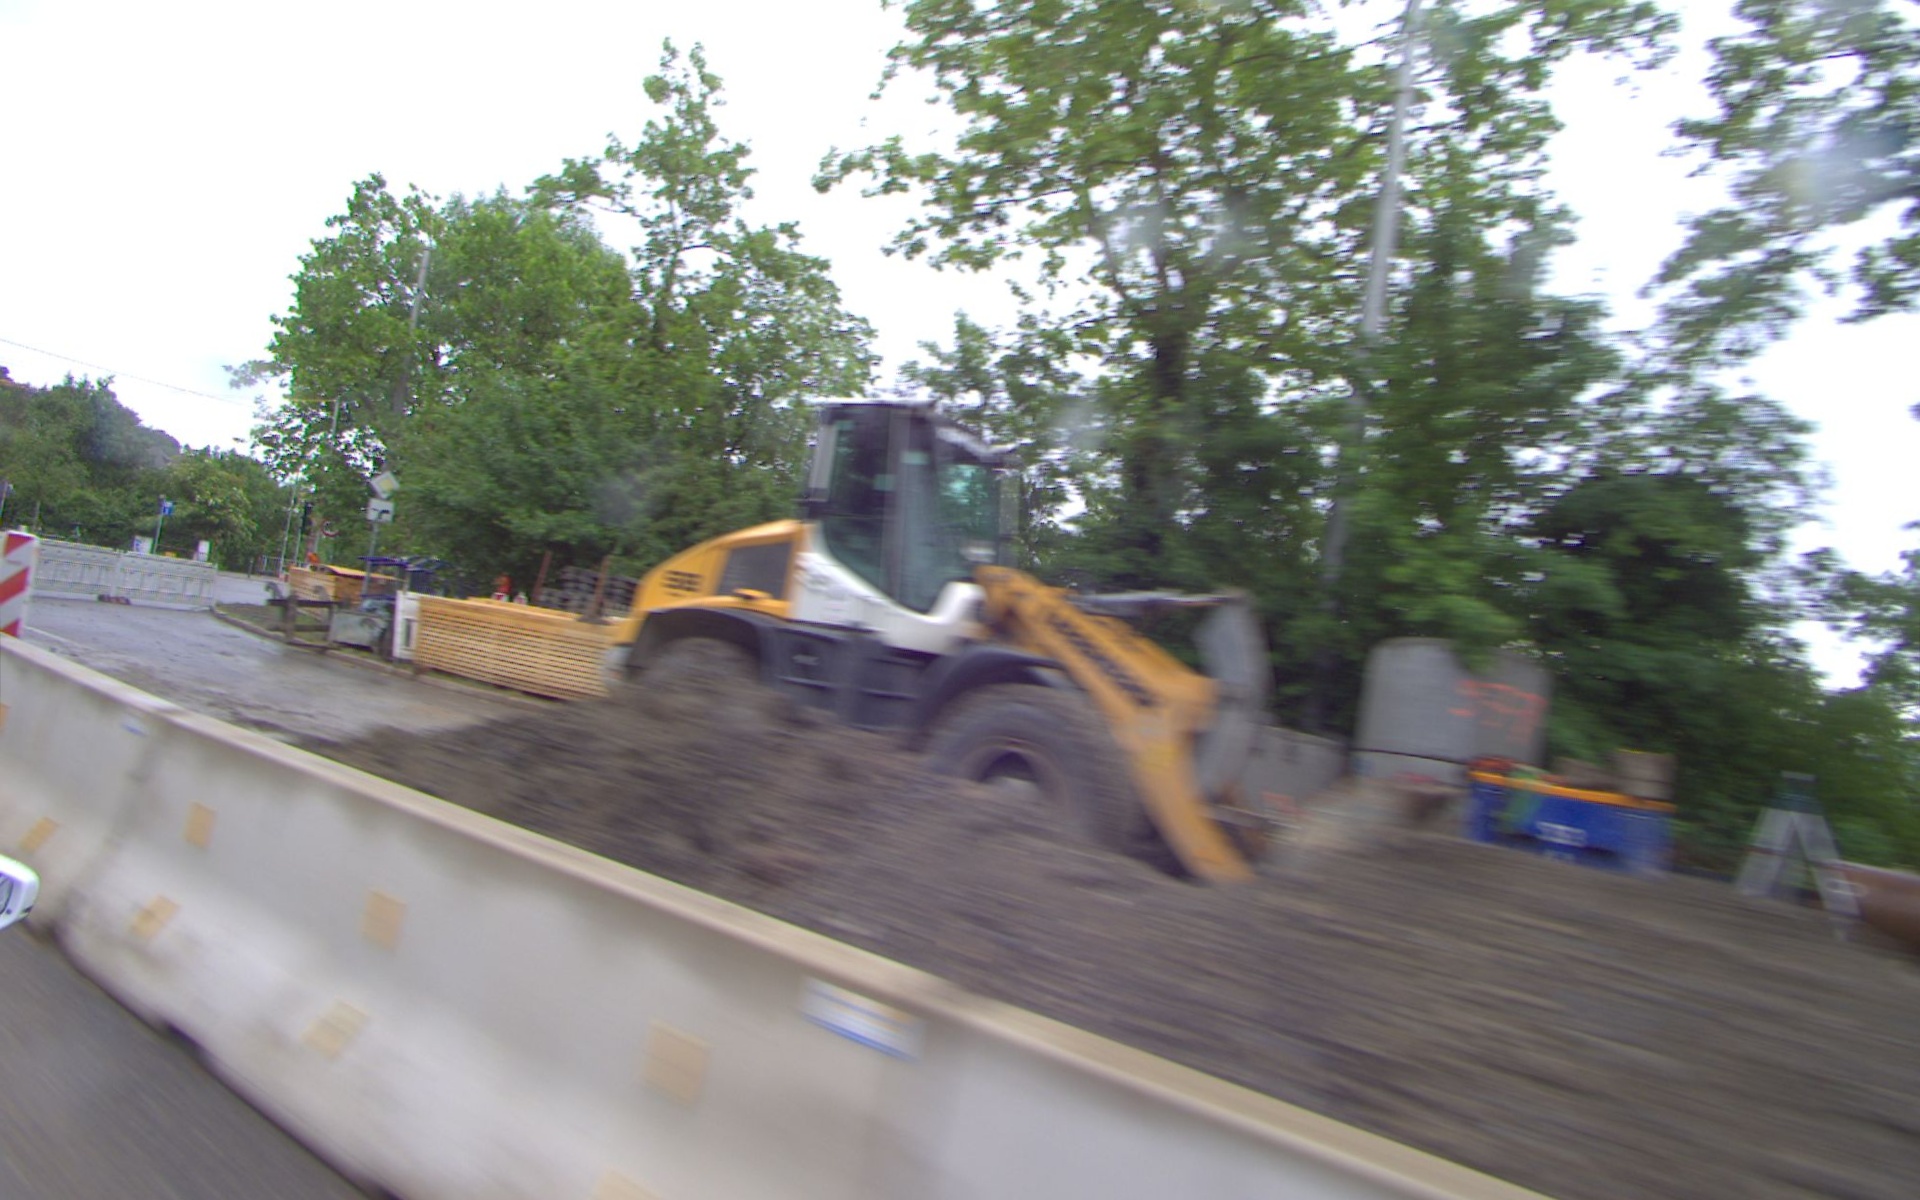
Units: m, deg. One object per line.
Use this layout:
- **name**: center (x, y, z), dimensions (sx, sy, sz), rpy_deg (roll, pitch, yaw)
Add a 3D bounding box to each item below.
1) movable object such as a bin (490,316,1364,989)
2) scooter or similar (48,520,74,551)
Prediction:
- **movable object such as a bin**: center (-0.428, 0.198, 7.204), dimensions (5.500, 3.107, 2.500), rpy_deg (5, -5, 35)
- **scooter or similar**: center (-36.957, -2.641, 41.362), dimensions (0.821, 1.156, 0.465), rpy_deg (6, -4, 35)
